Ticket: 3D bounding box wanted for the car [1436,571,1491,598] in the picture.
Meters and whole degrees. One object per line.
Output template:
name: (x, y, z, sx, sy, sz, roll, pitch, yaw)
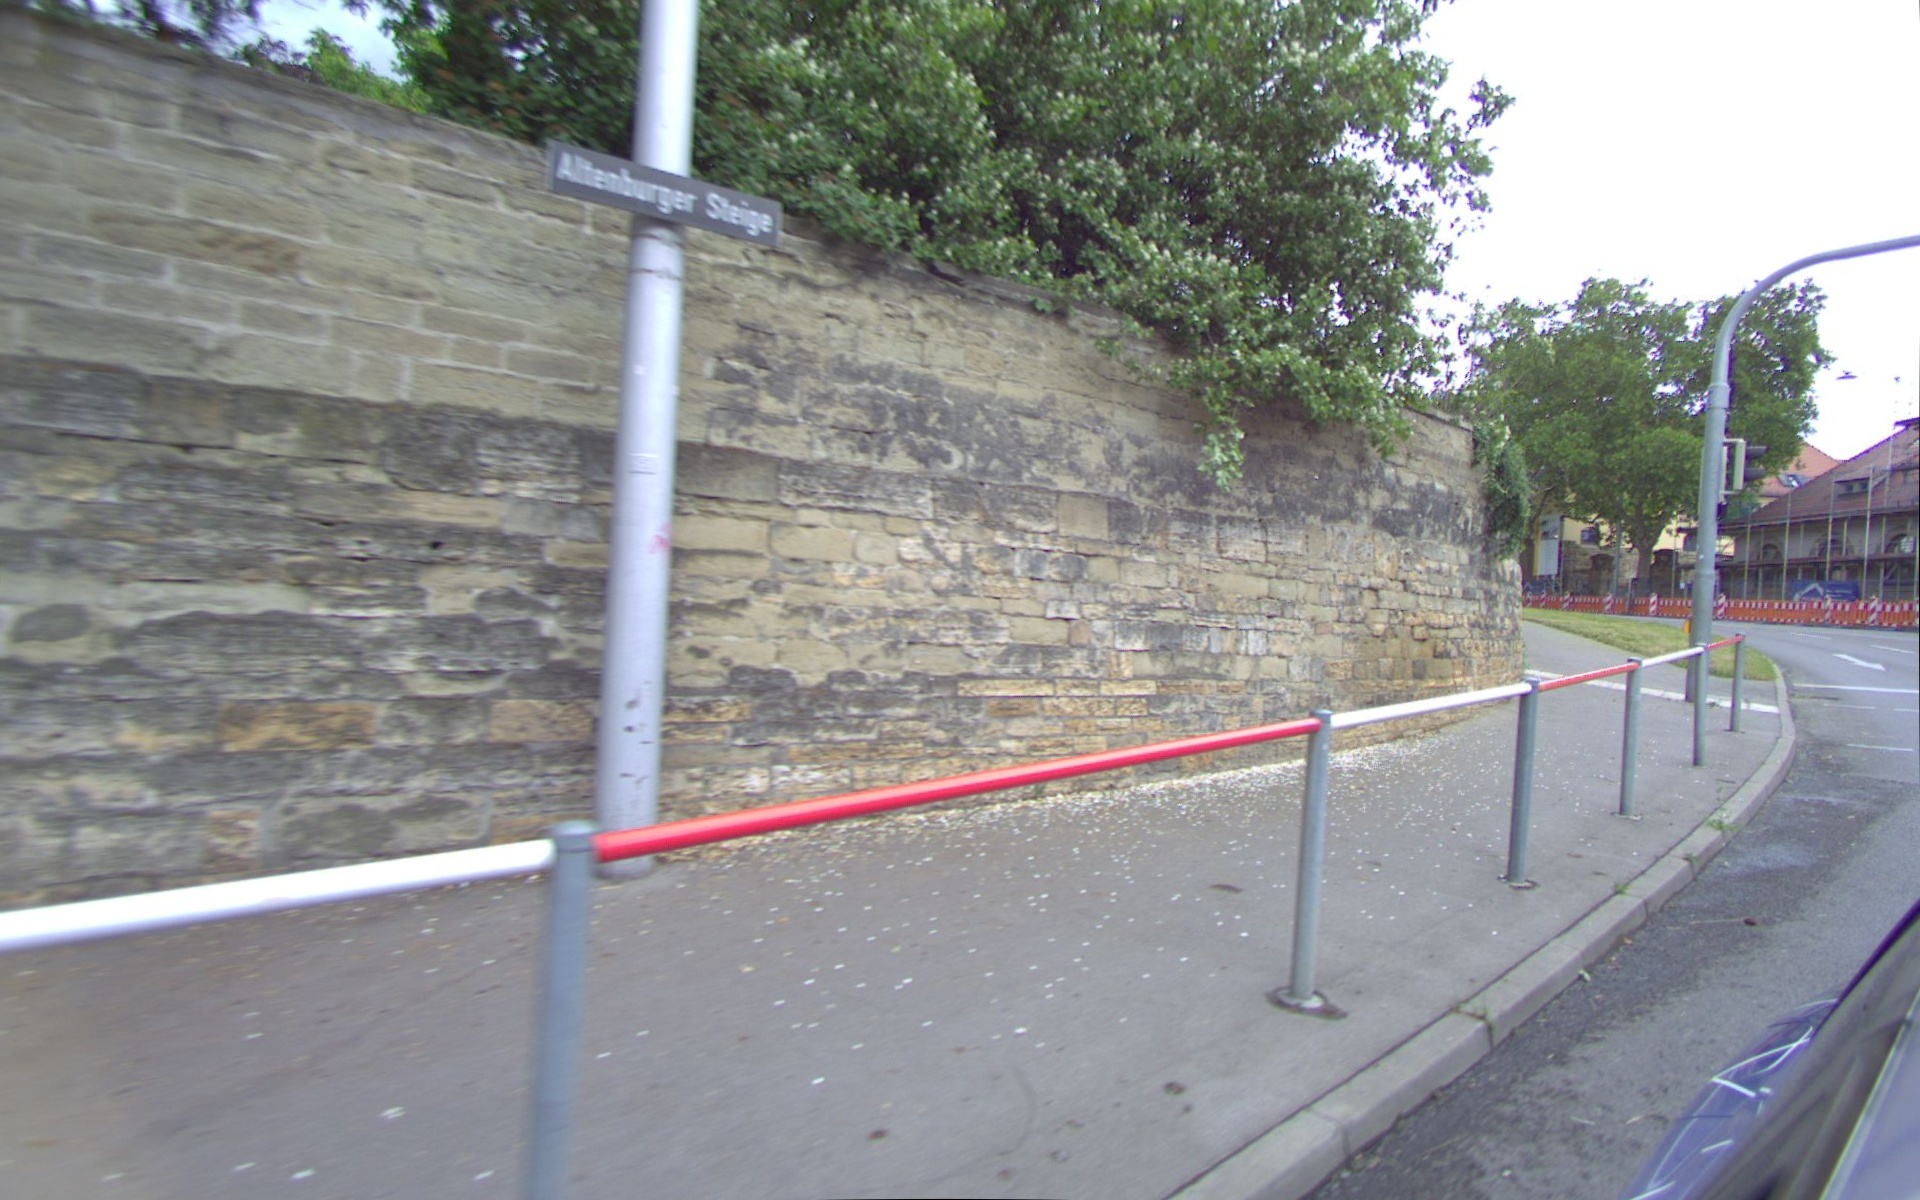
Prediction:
car: (33.679, -1.043, 67.805, 1.666, 1.633, 4.083, 1, 2, 2)
